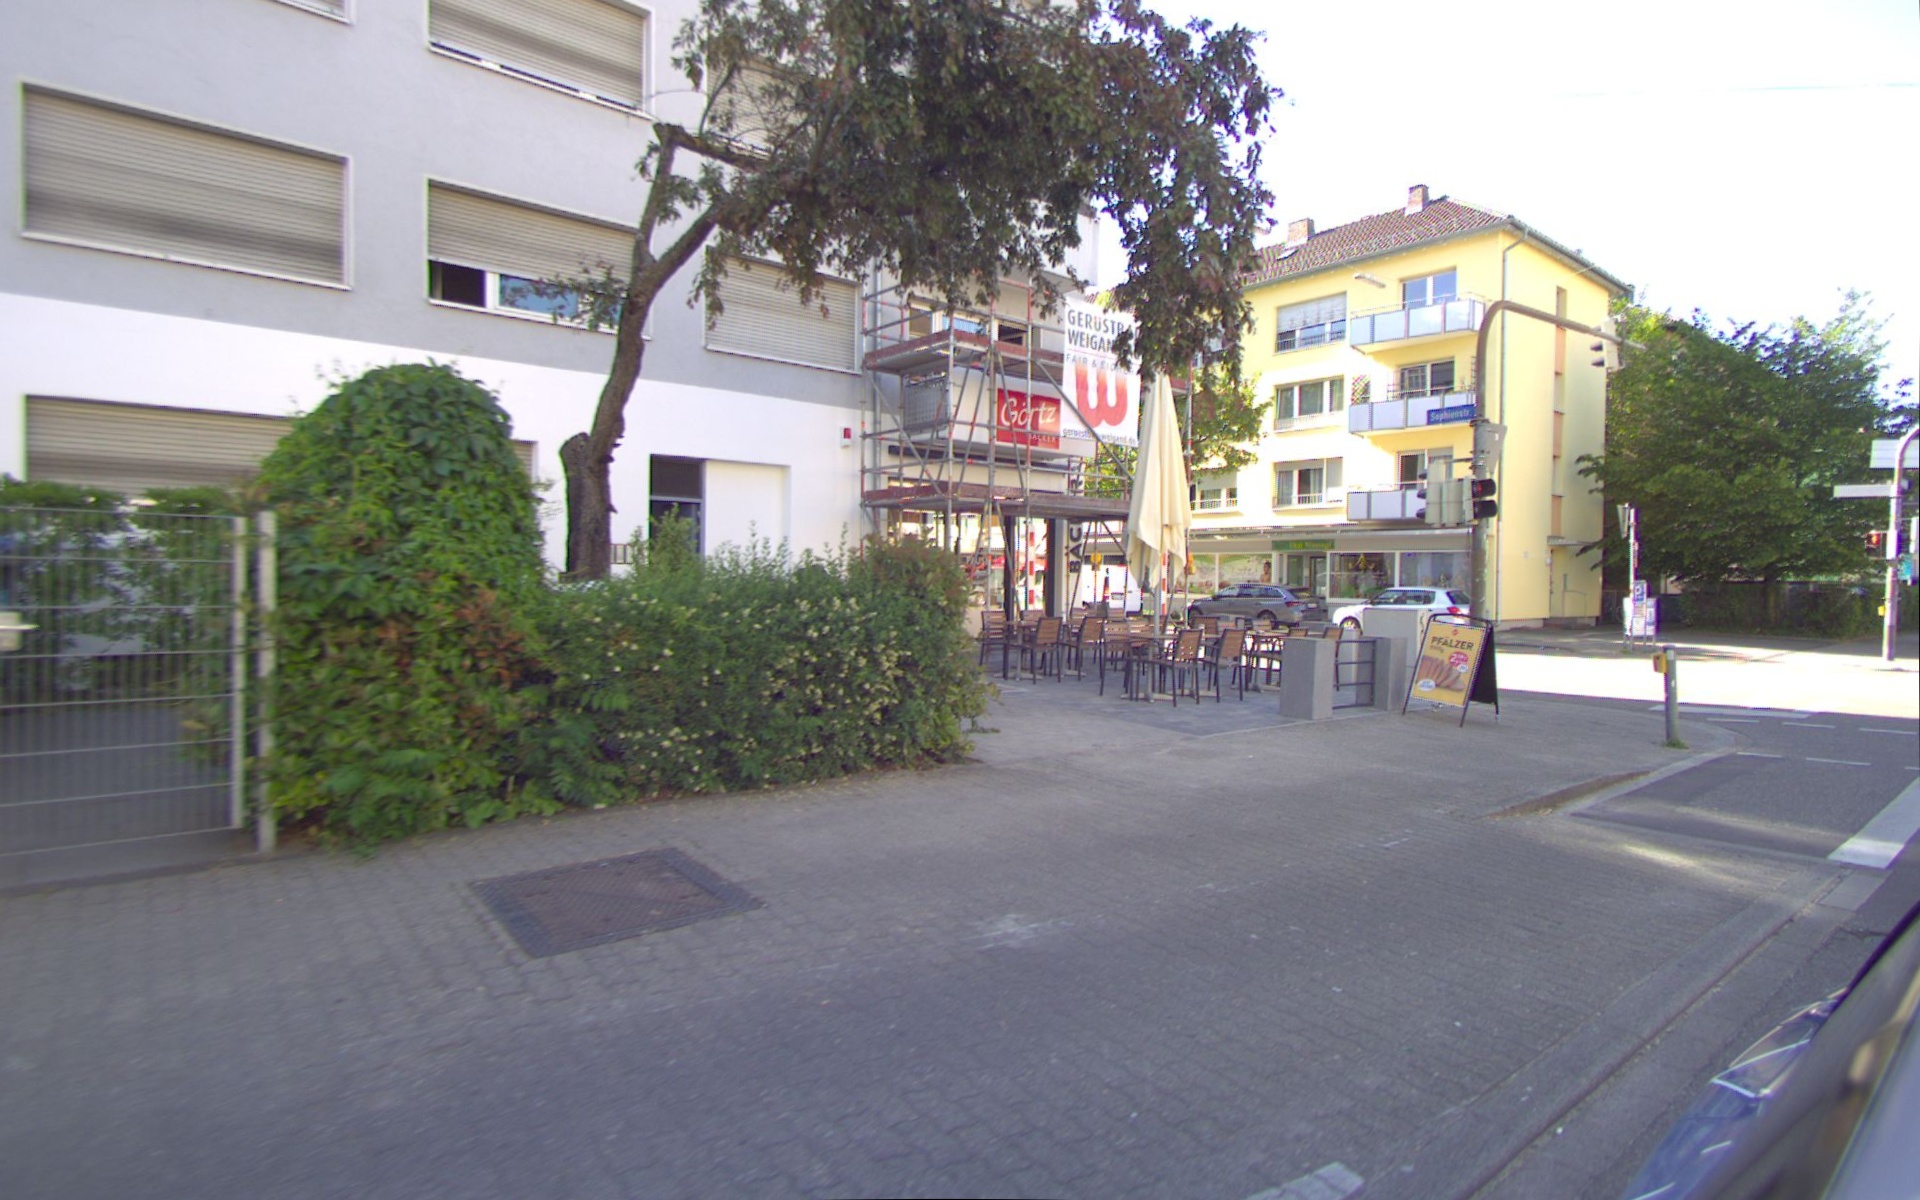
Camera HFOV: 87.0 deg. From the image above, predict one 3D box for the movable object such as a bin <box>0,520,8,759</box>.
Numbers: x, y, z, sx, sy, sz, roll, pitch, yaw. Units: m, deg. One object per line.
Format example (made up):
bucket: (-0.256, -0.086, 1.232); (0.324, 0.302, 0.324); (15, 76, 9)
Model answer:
movable object such as a bin: (-6.477, 0.222, 6.213); (1.086, 1.456, 0.831); (3, 2, 41)

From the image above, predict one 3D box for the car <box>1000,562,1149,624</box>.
car: (3.657, -0.250, 33.169); (1.832, 1.884, 4.960); (1, 0, -39)

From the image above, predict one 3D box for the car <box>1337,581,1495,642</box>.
car: (12.249, 0.254, 27.361); (1.454, 1.500, 3.644); (0, 2, -39)

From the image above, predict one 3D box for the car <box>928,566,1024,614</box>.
car: (0.597, -0.445, 41.184); (1.800, 1.871, 4.177); (-1, 2, -36)

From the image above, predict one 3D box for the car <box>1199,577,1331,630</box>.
car: (9.285, 0.064, 31.030); (1.551, 1.500, 3.644); (-1, 2, -39)

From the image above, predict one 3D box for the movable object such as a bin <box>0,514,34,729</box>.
movable object such as a bin: (-7.300, 0.132, 7.287); (1.086, 1.509, 0.831); (3, 2, 41)
